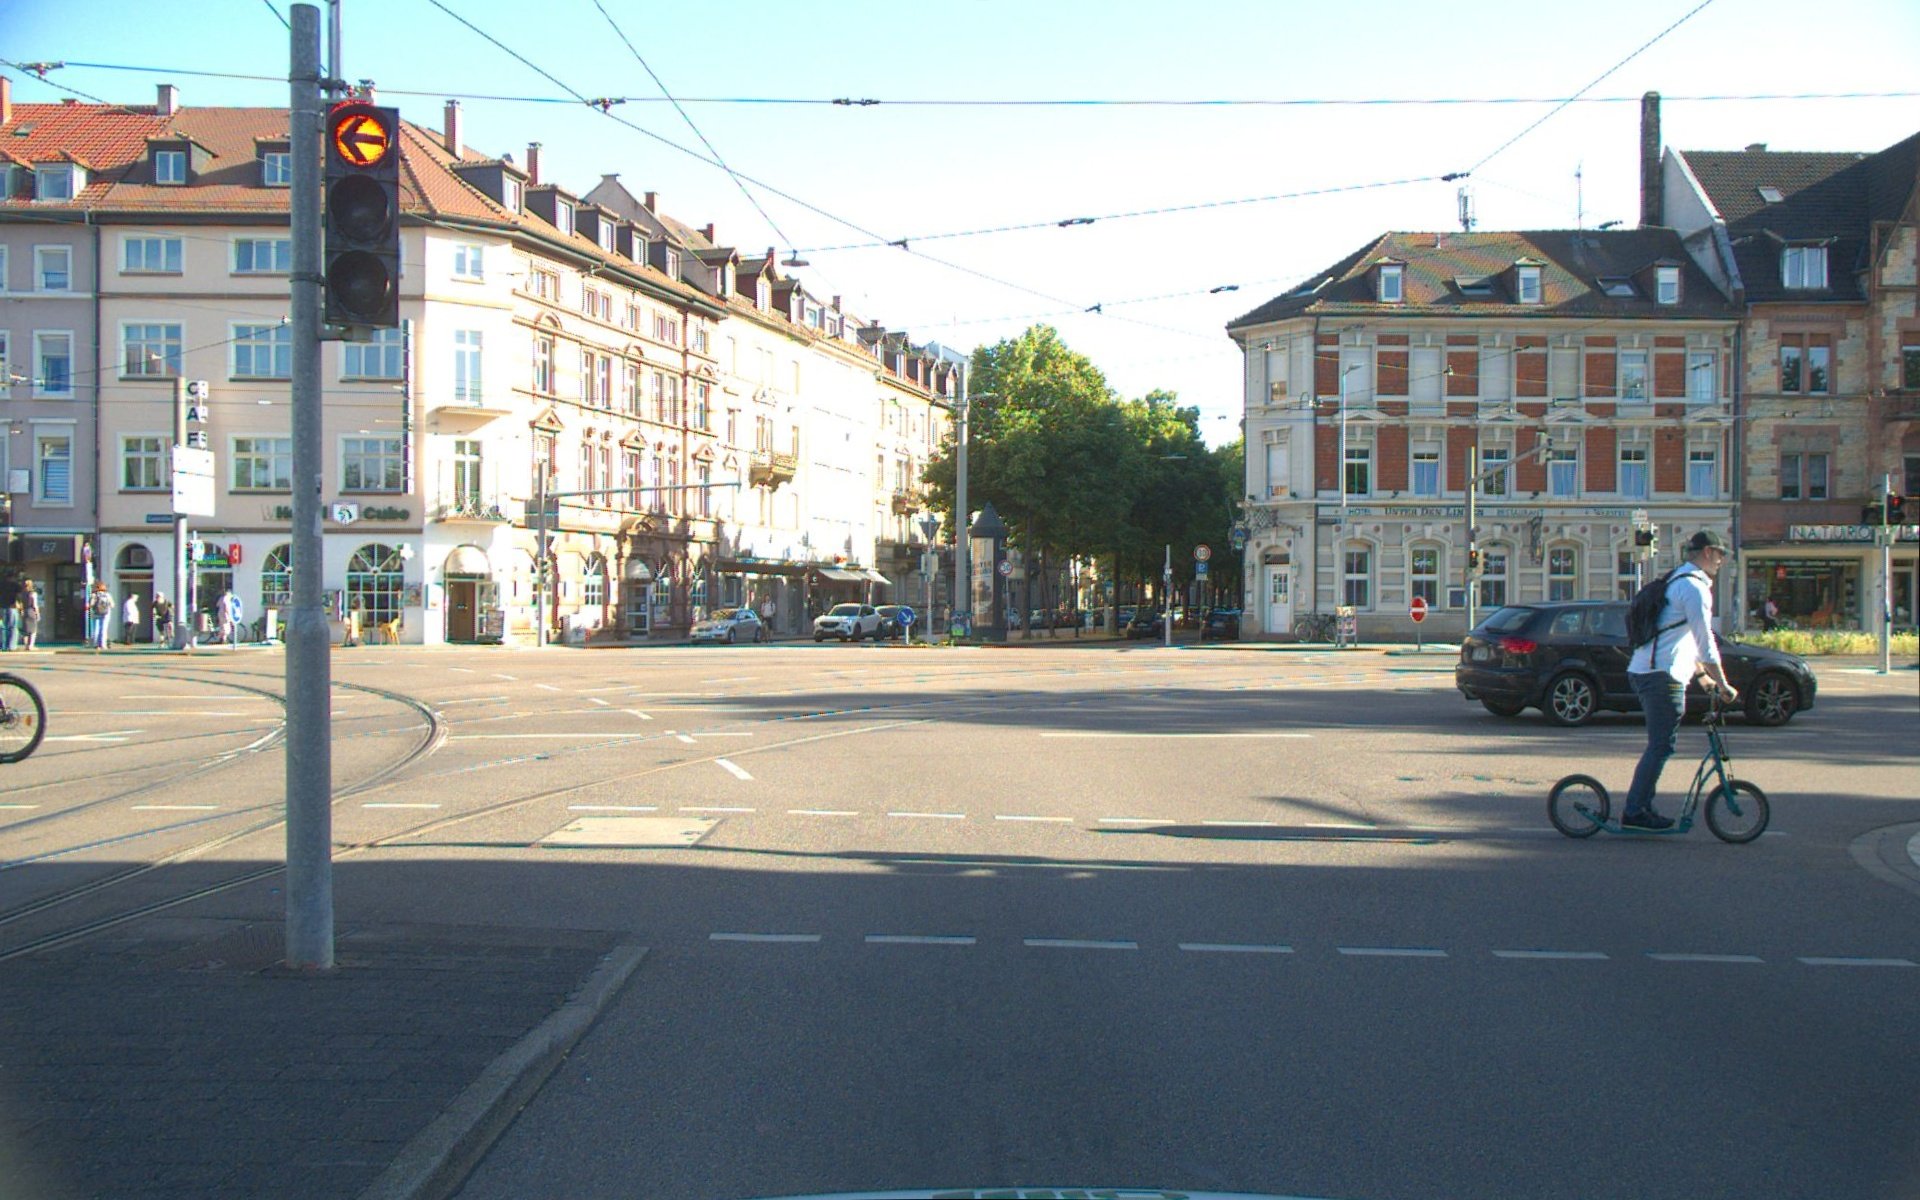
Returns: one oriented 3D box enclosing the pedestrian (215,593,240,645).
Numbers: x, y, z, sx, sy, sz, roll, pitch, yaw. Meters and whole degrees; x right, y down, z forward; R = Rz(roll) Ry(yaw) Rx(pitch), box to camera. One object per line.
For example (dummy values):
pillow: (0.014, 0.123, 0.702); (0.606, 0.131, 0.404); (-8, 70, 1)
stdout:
pedestrian: (-24.217, 0.609, 54.693); (0.731, 1.711, 0.623); (0, 0, -26)

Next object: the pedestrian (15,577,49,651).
pedestrian: (-23.000, 0.340, 41.005); (0.549, 1.817, 0.559); (0, 0, -6)

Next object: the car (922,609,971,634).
car: (-0.818, 1.310, 102.057); (1.951, 1.429, 4.172); (0, 0, 15)

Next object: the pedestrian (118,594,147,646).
pedestrian: (-27.690, 0.669, 55.377); (0.727, 1.711, 0.626); (0, 0, -12)

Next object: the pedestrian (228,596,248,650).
pedestrian: (-17.212, 0.546, 39.418); (0.358, 1.275, 0.449); (0, 0, -12)

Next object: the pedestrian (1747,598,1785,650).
pedestrian: (27.728, 0.815, 56.888); (1.013, 1.741, 0.630); (1, -1, 8)

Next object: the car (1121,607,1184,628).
car: (12.317, 1.130, 105.563); (3.902, 1.311, 1.696); (0, 0, 10)

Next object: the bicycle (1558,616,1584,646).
bicycle: (19.807, 1.010, 53.654); (0.476, 0.930, 1.785); (0, 0, 9)

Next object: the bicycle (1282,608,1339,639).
bicycle: (12.179, 0.823, 57.515); (1.911, 1.072, 0.716); (0, 0, 9)

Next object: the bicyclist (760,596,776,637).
bicyclist: (-7.545, 0.651, 65.068); (0.479, 1.629, 0.667); (0, 0, 9)

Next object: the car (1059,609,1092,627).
car: (9.571, 1.466, 136.727); (1.951, 1.429, 4.172); (0, 0, 15)

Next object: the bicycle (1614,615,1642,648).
bicycle: (21.615, 1.003, 53.554); (0.476, 1.038, 1.785); (0, 0, 9)

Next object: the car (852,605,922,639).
car: (-3.224, 0.948, 73.579); (1.951, 1.429, 4.172); (0, 0, 15)

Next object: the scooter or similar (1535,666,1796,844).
scooter or similar: (4.408, 0.956, 10.382); (1.402, 1.062, 0.565); (0, 0, -2)

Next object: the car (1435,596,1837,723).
car: (7.974, 0.674, 19.662); (4.190, 1.405, 1.643); (0, 0, -8)

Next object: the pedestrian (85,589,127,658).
pedestrian: (-21.345, 0.573, 41.328); (0.725, 1.711, 0.628); (0, 0, -1)

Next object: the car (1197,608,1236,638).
car: (12.855, 1.134, 82.707); (1.717, 1.445, 4.003); (0, 0, 12)

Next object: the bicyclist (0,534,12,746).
bicyclist: (-8.278, 0.328, 13.401); (0.782, 1.745, 0.733); (0, 0, -3)

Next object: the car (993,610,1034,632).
car: (3.817, 1.473, 116.895); (1.951, 1.429, 4.172); (0, 0, 15)

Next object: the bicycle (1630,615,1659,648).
bicycle: (22.113, 1.012, 53.482); (0.476, 1.038, 1.785); (0, 0, 9)

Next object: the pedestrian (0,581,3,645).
pedestrian: (-24.289, 0.318, 41.130); (0.685, 1.609, 0.559); (0, 0, -6)

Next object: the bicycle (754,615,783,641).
bicycle: (-7.554, 1.096, 65.167); (0.641, 1.018, 1.666); (1, 0, 11)

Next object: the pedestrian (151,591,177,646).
pedestrian: (-24.950, 0.586, 51.834); (0.731, 1.711, 0.623); (0, 0, -26)

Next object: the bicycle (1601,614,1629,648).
bicycle: (21.166, 0.995, 53.486); (0.476, 1.038, 1.785); (0, 0, 9)

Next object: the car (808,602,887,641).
car: (-4.528, 0.844, 67.387); (1.951, 1.542, 4.172); (0, 0, 15)

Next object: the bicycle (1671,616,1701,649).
bicycle: (23.593, 1.038, 53.744); (0.476, 1.038, 1.785); (0, 0, 9)

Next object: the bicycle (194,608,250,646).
bicycle: (-25.129, 0.915, 56.332); (1.684, 1.299, 0.385); (0, 0, -18)

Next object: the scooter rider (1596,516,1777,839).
scooter rider: (4.539, 0.467, 10.380); (0.779, 1.945, 0.797); (0, 0, -1)

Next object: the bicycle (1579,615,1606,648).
bicycle: (20.476, 1.017, 53.577); (0.476, 1.038, 1.785); (0, 0, 9)

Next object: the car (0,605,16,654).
car: (-32.130, 0.904, 52.154); (3.651, 1.517, 1.818); (1, 0, 2)

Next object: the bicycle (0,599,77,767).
bicycle: (-8.271, 0.647, 13.358); (1.901, 1.321, 0.623); (1, 0, -3)

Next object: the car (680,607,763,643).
car: (-9.597, 0.982, 66.881); (1.951, 1.385, 3.821); (0, 0, 15)

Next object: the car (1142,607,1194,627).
car: (14.046, 1.139, 111.663); (3.360, 1.261, 1.578); (0, 0, 10)

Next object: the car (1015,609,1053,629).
car: (5.475, 1.367, 122.641); (1.951, 1.429, 4.172); (0, 0, 15)

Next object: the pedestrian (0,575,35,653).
pedestrian: (-22.937, 0.330, 39.974); (0.751, 1.861, 0.722); (0, 0, -1)

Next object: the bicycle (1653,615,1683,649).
bicycle: (22.908, 1.026, 53.562); (0.476, 1.038, 1.785); (0, 0, 9)

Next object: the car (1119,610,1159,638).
car: (9.000, 1.191, 83.043); (1.680, 1.323, 4.077); (0, 0, 11)

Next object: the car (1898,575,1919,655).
car: (27.267, 0.389, 42.793); (4.879, 2.049, 2.000); (0, 0, -1)

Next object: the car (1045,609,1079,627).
car: (8.142, 1.420, 131.509); (1.951, 1.429, 4.172); (0, 0, 15)
